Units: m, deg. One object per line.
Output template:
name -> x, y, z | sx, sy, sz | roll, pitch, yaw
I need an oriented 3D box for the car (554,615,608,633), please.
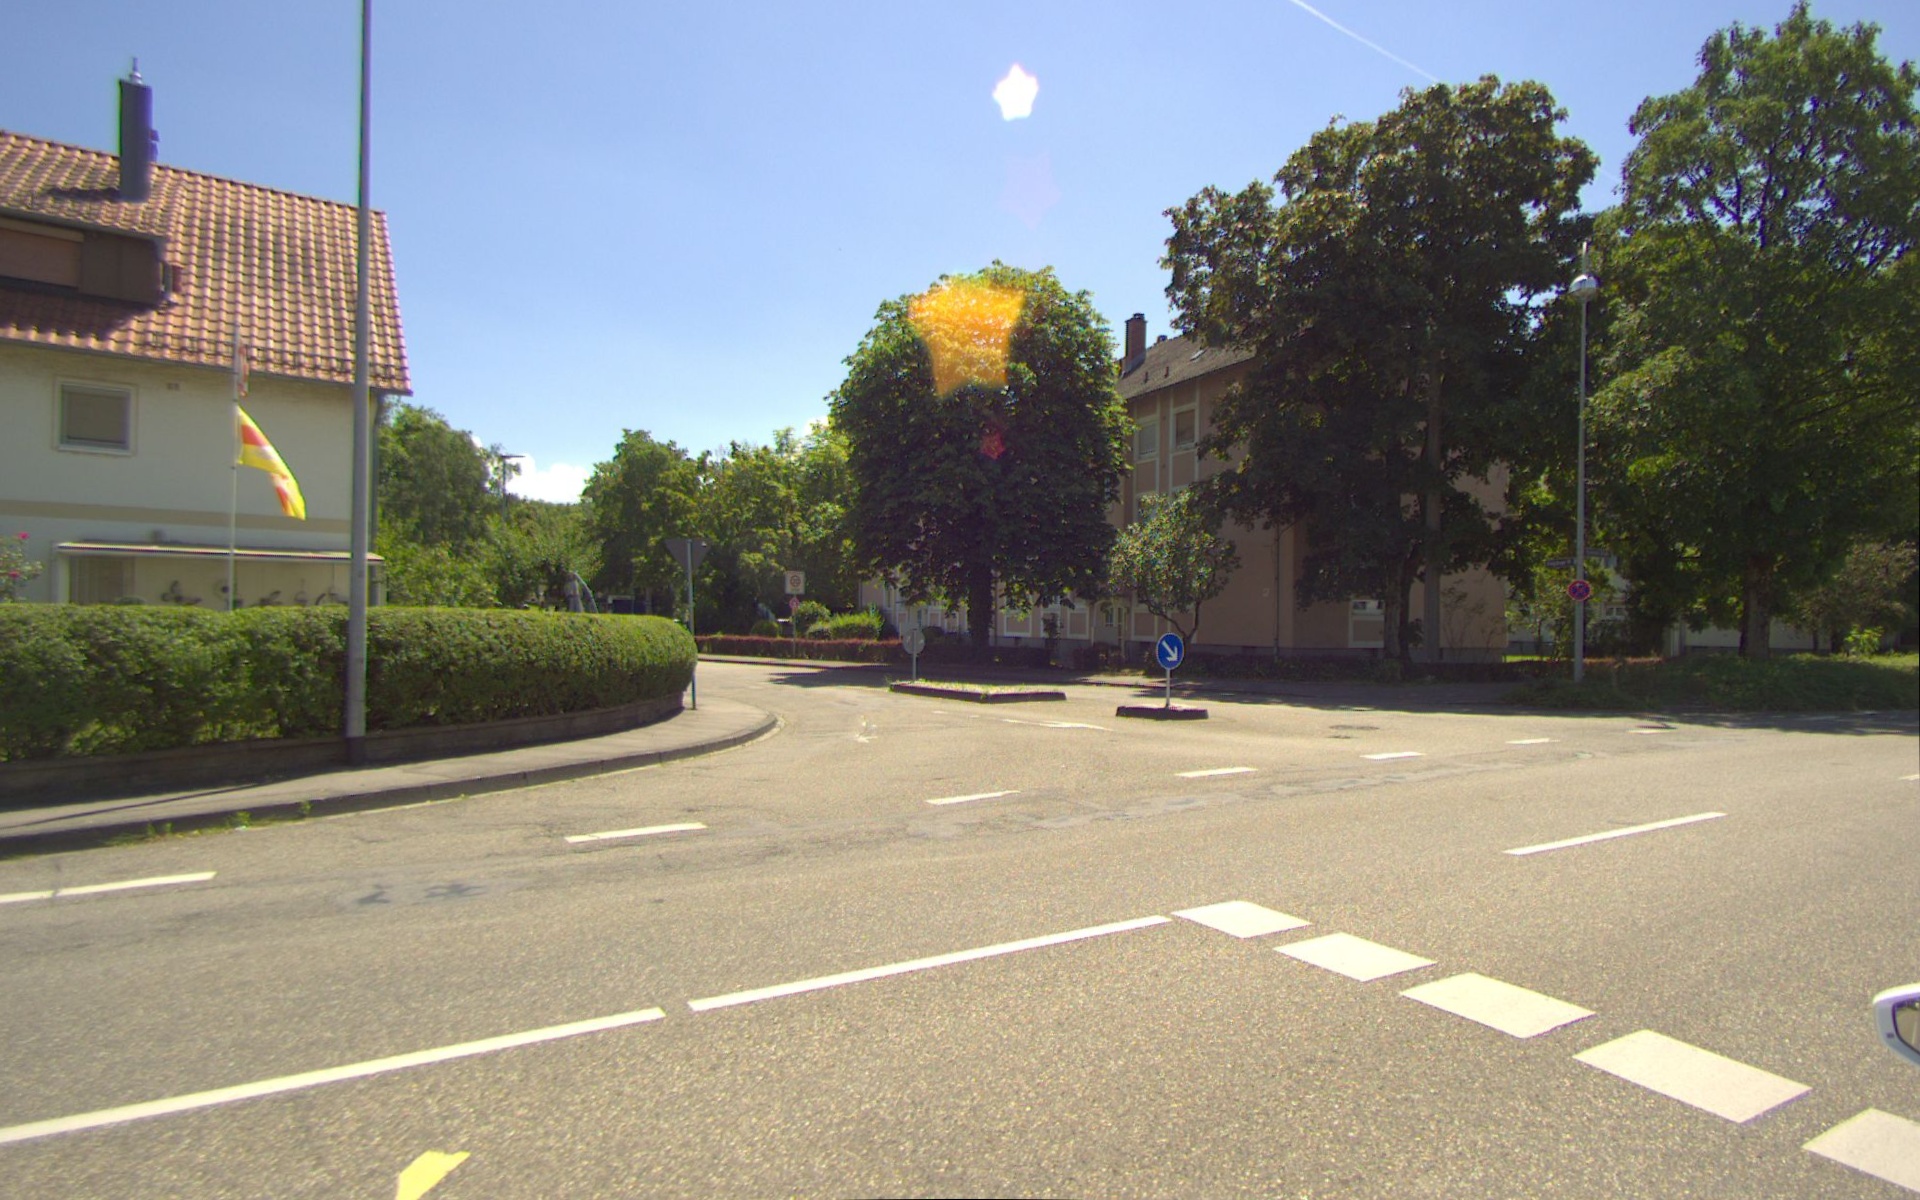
car -> -31.620, 1.989, 83.845 | 3.860, 1.460, 1.796 | 1, 1, -7
